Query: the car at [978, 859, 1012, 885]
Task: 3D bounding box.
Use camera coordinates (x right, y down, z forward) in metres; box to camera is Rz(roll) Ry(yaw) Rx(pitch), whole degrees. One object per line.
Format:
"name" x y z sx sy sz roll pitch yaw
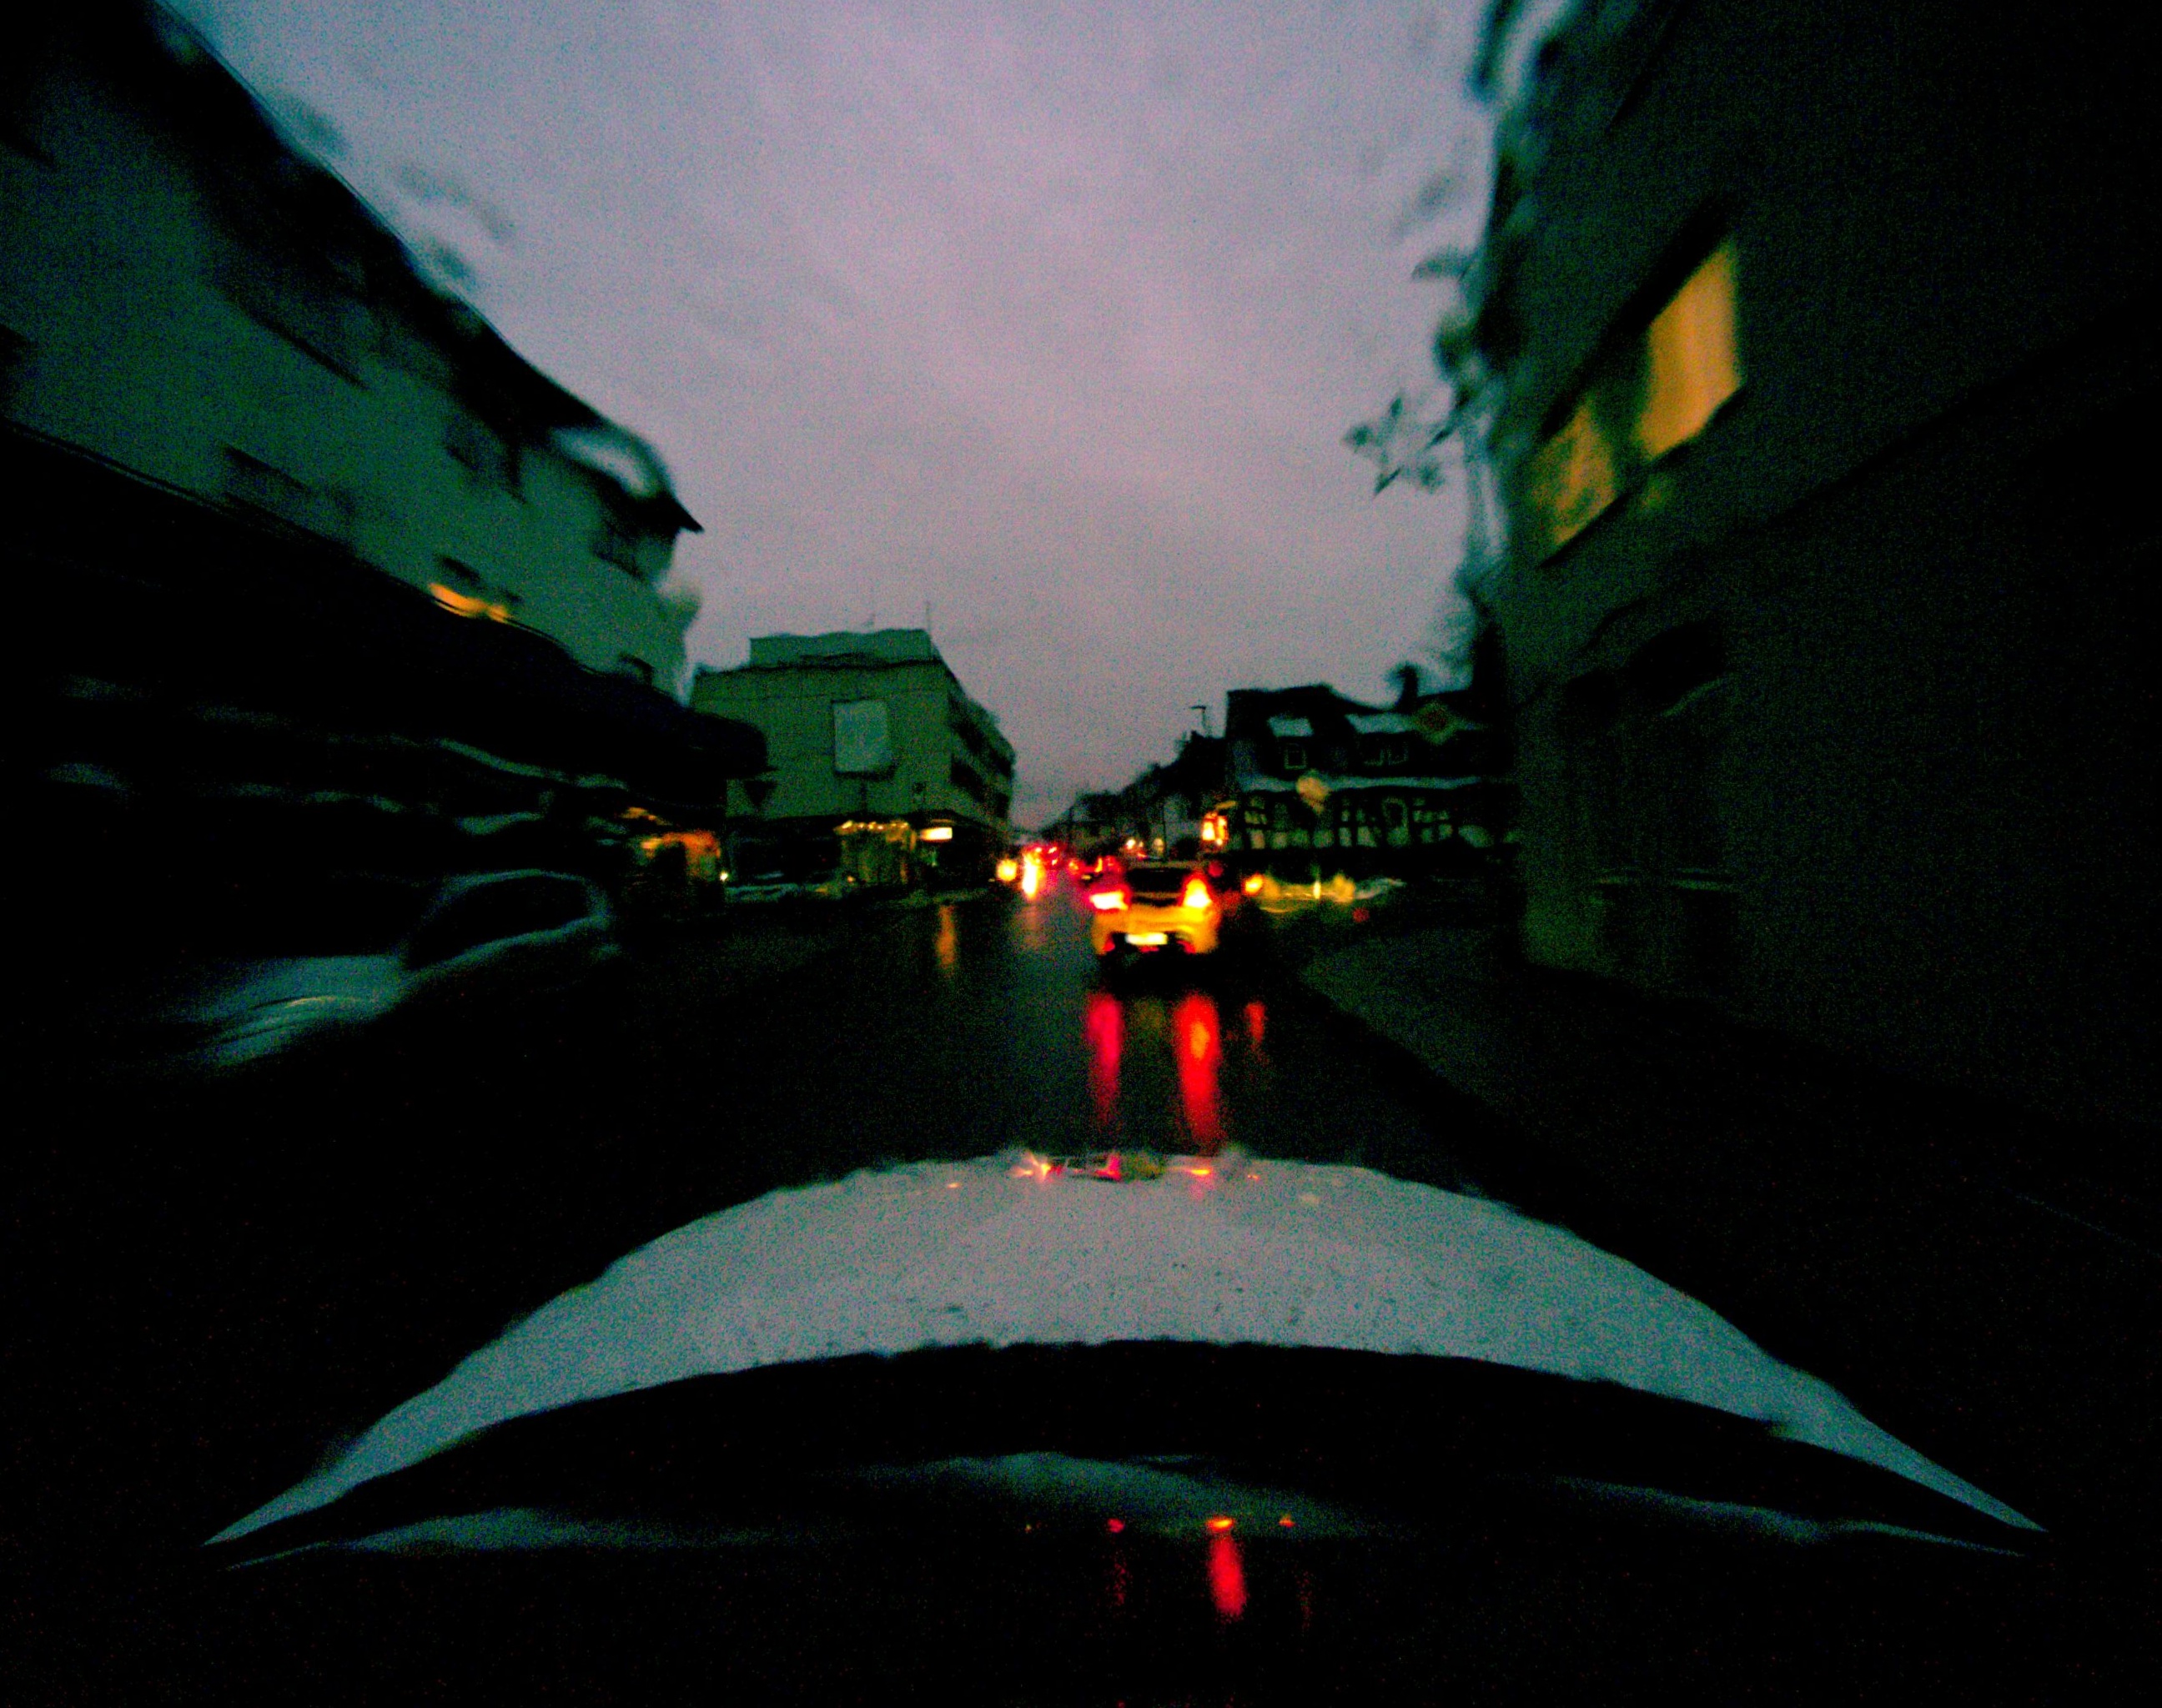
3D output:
"car" -5.426 1.120 51.832 1.609 1.533 3.929 0 0 1

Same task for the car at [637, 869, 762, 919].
"car" -14.678 1.485 31.734 2.093 1.499 5.051 -3 1 4

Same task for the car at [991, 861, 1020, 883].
"car" -5.308 1.265 57.679 1.670 1.446 4.426 0 0 -1

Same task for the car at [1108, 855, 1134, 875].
"car" 3.172 0.849 65.125 1.789 1.460 4.529 -4 0 0

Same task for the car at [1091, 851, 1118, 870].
"car" 2.058 0.605 73.864 1.879 1.547 4.663 -3 0 -5

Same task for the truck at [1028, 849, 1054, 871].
"truck" -6.132 0.900 123.797 3.015 3.128 7.973 -1 0 -10

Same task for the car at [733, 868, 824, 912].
"car" -11.891 1.368 32.308 1.691 1.400 4.454 -3 1 3

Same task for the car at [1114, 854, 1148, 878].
"car" 3.278 0.806 54.238 1.817 1.423 4.606 -4 -1 -1

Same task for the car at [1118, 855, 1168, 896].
"car" 2.505 0.837 33.510 1.726 1.459 4.000 -4 -1 1

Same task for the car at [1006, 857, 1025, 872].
"car" -7.018 1.110 87.285 1.793 1.642 3.802 0 0 -7

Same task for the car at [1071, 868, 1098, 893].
"car" 0.257 1.634 51.484 1.632 1.481 3.379 -1 -1 1

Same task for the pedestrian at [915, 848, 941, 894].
"pedestrian" -6.630 0.723 35.281 0.974 1.938 1.197 -2 0 -13

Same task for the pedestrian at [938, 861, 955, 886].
"pedestrian" -7.262 1.065 44.073 0.753 1.310 0.828 -1 -1 -1

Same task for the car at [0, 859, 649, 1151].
"car" -5.398 0.863 6.528 1.714 1.614 3.817 0 0 2

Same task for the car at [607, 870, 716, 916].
"car" -17.016 1.536 33.301 1.689 1.464 4.459 -3 1 6

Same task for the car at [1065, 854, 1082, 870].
"car" -0.711 0.759 77.652 1.633 1.481 3.270 -1 0 0

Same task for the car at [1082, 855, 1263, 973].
"car" 1.523 0.754 12.123 1.755 1.447 3.746 -1 0 21

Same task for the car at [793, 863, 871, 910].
"car" -9.572 1.196 31.671 1.759 1.499 4.447 -3 1 -2

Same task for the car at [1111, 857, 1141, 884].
"car" 2.651 0.960 48.629 1.620 1.441 3.802 -4 -1 3
